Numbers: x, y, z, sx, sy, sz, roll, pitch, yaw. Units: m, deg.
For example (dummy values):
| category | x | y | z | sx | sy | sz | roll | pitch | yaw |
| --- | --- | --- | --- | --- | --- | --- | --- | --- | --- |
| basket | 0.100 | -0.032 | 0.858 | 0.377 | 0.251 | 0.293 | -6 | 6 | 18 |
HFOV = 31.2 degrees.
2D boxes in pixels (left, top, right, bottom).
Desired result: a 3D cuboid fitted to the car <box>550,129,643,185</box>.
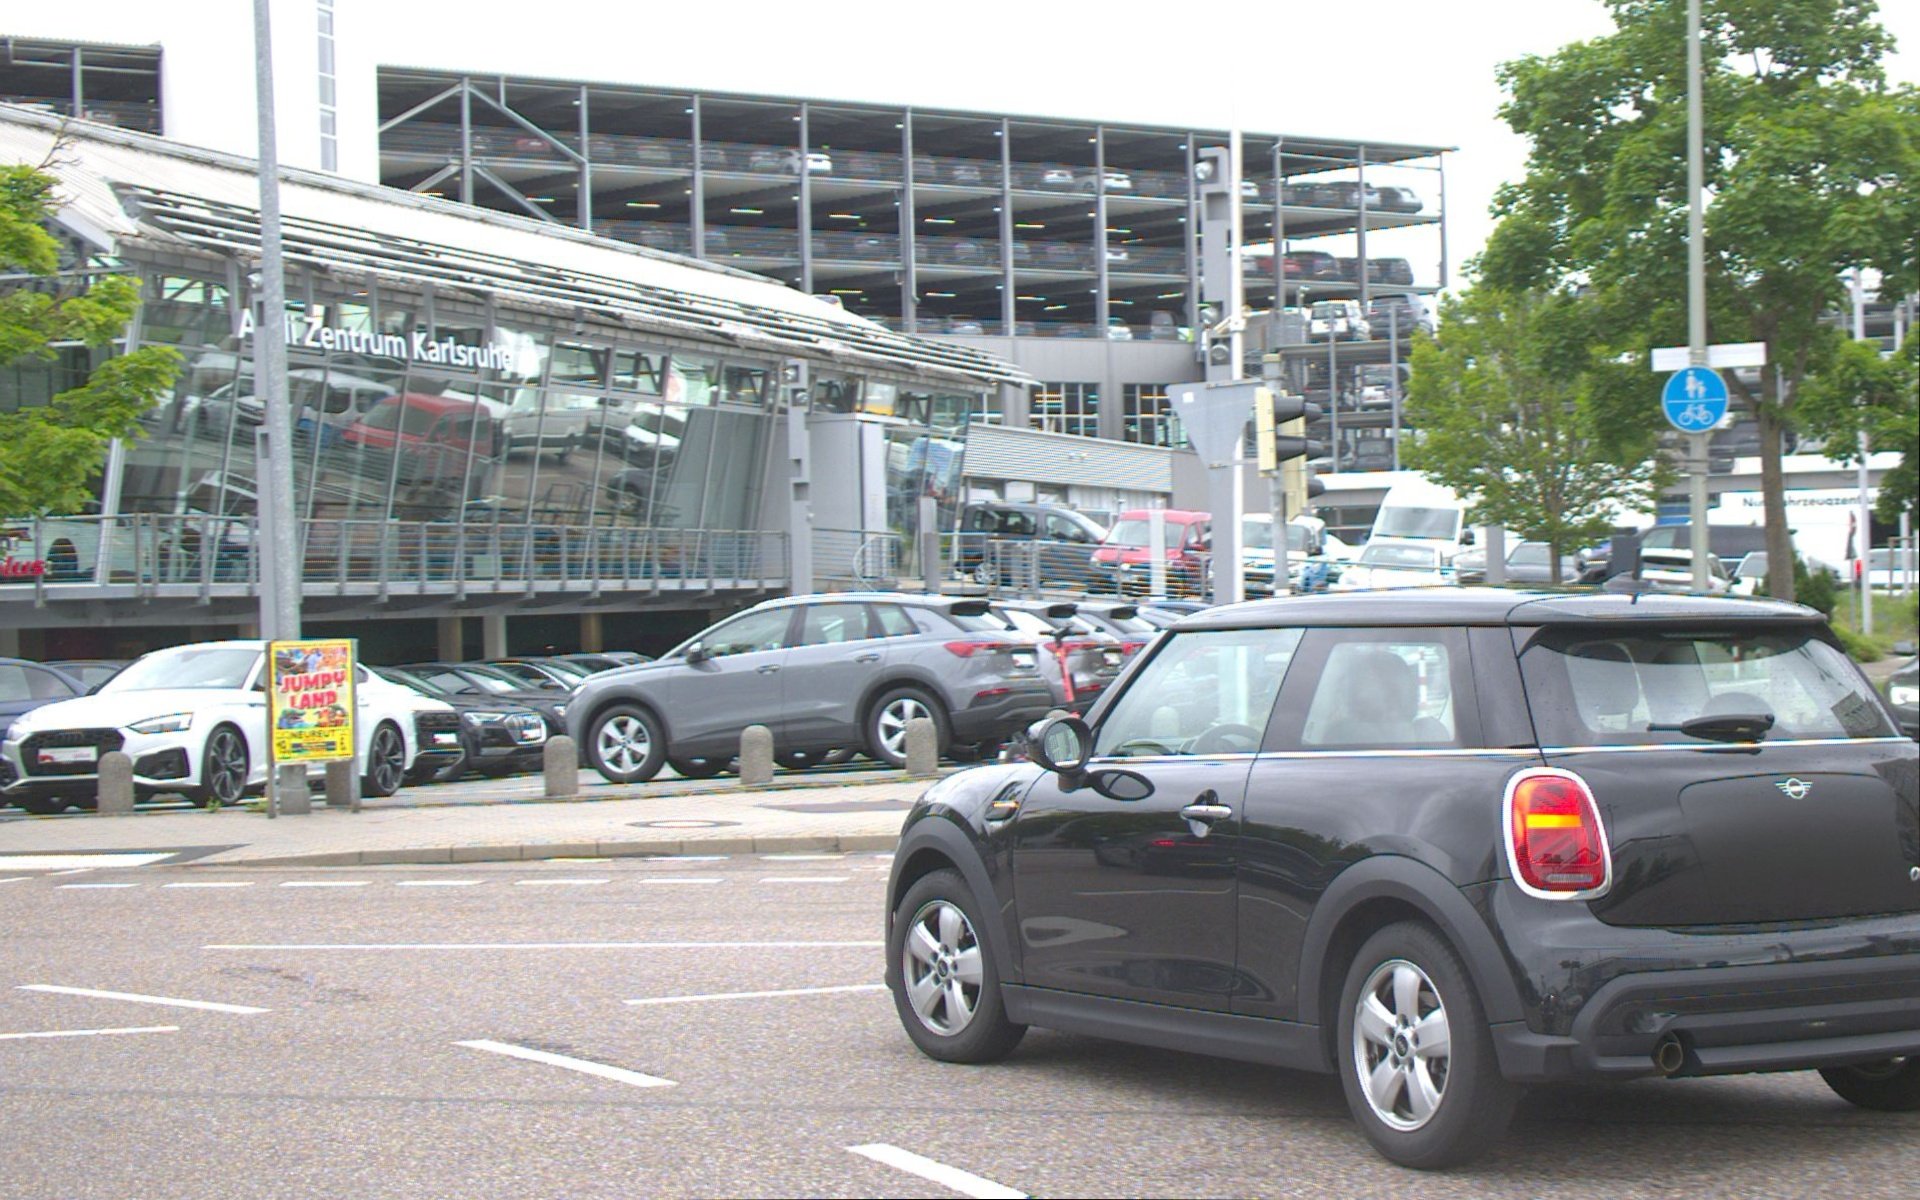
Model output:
| category | x | y | z | sx | sy | sz | roll | pitch | yaw |
| --- | --- | --- | --- | --- | --- | --- | --- | --- | --- |
| car | -14.567 | -17.731 | 137.740 | 1.994 | 1.662 | 3.999 | 0 | 0 | -36 |

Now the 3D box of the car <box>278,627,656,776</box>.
| category | x | y | z | sx | sy | sz | roll | pitch | yaw |
| --- | --- | --- | --- | --- | --- | --- | --- | --- | --- |
| car | -6.864 | 1.409 | 47.911 | 4.806 | 1.933 | 1.998 | -2 | 0 | 20 |

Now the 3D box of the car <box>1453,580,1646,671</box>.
| category | x | y | z | sx | sy | sz | roll | pitch | yaw |
| --- | --- | --- | --- | --- | --- | --- | --- | --- | --- |
| car | 13.319 | 0.574 | 77.642 | 3.991 | 2.007 | 1.998 | 0 | -1 | 20 |

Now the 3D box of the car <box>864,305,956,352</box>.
| category | x | y | z | sx | sy | sz | roll | pitch | yaw |
| --- | --- | --- | --- | --- | --- | --- | --- | --- | --- |
| car | -2.139 | -11.558 | 146.718 | 1.994 | 1.662 | 3.999 | 0 | 0 | -36 |

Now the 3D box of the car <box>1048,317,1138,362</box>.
| category | x | y | z | sx | sy | sz | roll | pitch | yaw |
| --- | --- | --- | --- | --- | --- | --- | --- | --- | --- |
| car | 5.904 | -11.605 | 153.146 | 1.994 | 1.662 | 3.999 | 0 | 0 | -36 |

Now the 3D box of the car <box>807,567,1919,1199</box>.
| category | x | y | z | sx | sy | sz | roll | pitch | yaw |
| --- | --- | --- | --- | --- | --- | --- | --- | --- | --- |
| car | 1.160 | 0.689 | 9.697 | 1.786 | 1.411 | 3.643 | -2 | -1 | -27 |

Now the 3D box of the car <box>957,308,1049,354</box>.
| category | x | y | z | sx | sy | sz | roll | pitch | yaw |
| --- | --- | --- | --- | --- | --- | --- | --- | --- | --- |
| car | 1.858 | -11.739 | 149.986 | 1.994 | 1.662 | 3.999 | 0 | 0 | -36 |

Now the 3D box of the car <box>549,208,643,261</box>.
| category | x | y | z | sx | sy | sz | roll | pitch | yaw |
| --- | --- | --- | --- | --- | --- | --- | --- | --- | --- |
| car | -14.588 | -14.631 | 137.635 | 1.994 | 1.662 | 3.999 | 0 | 0 | -36 |

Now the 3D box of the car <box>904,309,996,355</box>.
| category | x | y | z | sx | sy | sz | roll | pitch | yaw |
| --- | --- | --- | --- | --- | --- | --- | --- | --- | --- |
| car | -0.459 | -11.536 | 148.147 | 1.994 | 1.662 | 3.999 | 0 | 0 | -36 |

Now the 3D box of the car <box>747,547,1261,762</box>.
| category | x | y | z | sx | sy | sz | roll | pitch | yaw |
| --- | --- | --- | --- | --- | --- | --- | --- | --- | --- |
| car | 0.493 | 0.605 | 37.130 | 5.027 | 2.007 | 2.264 | -3 | -2 | 18 |

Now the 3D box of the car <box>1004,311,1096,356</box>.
| category | x | y | z | sx | sy | sz | roll | pitch | yaw |
| --- | --- | --- | --- | --- | --- | --- | --- | --- | --- |
| car | 3.948 | -11.708 | 151.333 | 1.994 | 1.662 | 3.999 | 0 | 0 | -36 |

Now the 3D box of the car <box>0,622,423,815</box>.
| category | x | y | z | sx | sy | sz | roll | pitch | yaw |
| --- | --- | --- | --- | --- | --- | --- | --- | --- | --- |
| car | -6.394 | 1.002 | 29.004 | 1.870 | 1.481 | 4.225 | -2 | -2 | 19 |

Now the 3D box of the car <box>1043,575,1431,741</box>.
| category | x | y | z | sx | sy | sz | roll | pitch | yaw |
| --- | --- | --- | --- | --- | --- | --- | --- | --- | --- |
| car | 3.816 | 0.812 | 47.279 | 4.896 | 2.007 | 1.998 | -3 | -2 | 18 |

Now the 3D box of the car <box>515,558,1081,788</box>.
| category | x | y | z | sx | sy | sz | roll | pitch | yaw |
| --- | --- | --- | --- | --- | --- | --- | --- | --- | --- |
| car | -1.485 | 0.691 | 31.918 | 4.776 | 1.856 | 1.998 | -3 | -2 | 18 |

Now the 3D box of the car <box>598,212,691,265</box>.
| category | x | y | z | sx | sy | sz | roll | pitch | yaw |
| --- | --- | --- | --- | --- | --- | --- | --- | --- | --- |
| car | -12.761 | -14.606 | 139.070 | 1.994 | 1.662 | 3.999 | 0 | 0 | -36 |

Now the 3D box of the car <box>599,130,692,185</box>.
| category | x | y | z | sx | sy | sz | roll | pitch | yaw |
| --- | --- | --- | --- | --- | --- | --- | --- | --- | --- |
| car | -12.769 | -17.918 | 139.346 | 1.994 | 1.662 | 3.999 | 0 | 0 | -36 |

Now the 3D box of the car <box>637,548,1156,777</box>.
| category | x | y | z | sx | sy | sz | roll | pitch | yaw |
| --- | --- | --- | --- | --- | --- | --- | --- | --- | --- |
| car | -0.617 | 0.637 | 34.337 | 4.705 | 2.007 | 1.998 | -3 | -2 | 18 |

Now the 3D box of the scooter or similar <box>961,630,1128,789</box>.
| category | x | y | z | sx | sy | sz | roll | pitch | yaw |
| --- | --- | --- | --- | --- | --- | --- | --- | --- | --- |
| scooter or similar | 0.699 | 0.878 | 28.105 | 0.558 | 1.214 | 1.557 | 2 | 2 | 36 |

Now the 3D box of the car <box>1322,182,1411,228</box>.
| category | x | y | z | sx | sy | sz | roll | pitch | yaw |
| --- | --- | --- | --- | --- | --- | --- | --- | --- | --- |
| car | 19.256 | -18.722 | 163.001 | 1.994 | 1.662 | 3.999 | 0 | 0 | -36 |

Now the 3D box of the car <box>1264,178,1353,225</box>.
| category | x | y | z | sx | sy | sz | roll | pitch | yaw |
| --- | --- | --- | --- | --- | --- | --- | --- | --- | --- |
| car | 16.264 | -18.596 | 160.625 | 1.994 | 1.662 | 3.999 | 0 | 0 | -36 |

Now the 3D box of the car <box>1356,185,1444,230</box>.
| category | x | y | z | sx | sy | sz | roll | pitch | yaw |
| --- | --- | --- | --- | --- | --- | --- | --- | --- | --- |
| car | 21.018 | -18.746 | 164.365 | 1.994 | 1.662 | 3.999 | 0 | 0 | -36 |

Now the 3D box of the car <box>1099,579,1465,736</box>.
| category | x | y | z | sx | sy | sz | roll | pitch | yaw |
| --- | --- | --- | --- | --- | --- | --- | --- | --- | --- |
| car | 4.689 | 0.841 | 49.979 | 4.896 | 2.007 | 1.998 | -3 | -2 | 18 |

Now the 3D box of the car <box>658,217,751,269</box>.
| category | x | y | z | sx | sy | sz | roll | pitch | yaw |
| --- | --- | --- | --- | --- | --- | --- | --- | --- | --- |
| car | -10.467 | -14.578 | 140.437 | 1.994 | 1.662 | 3.999 | 0 | 0 | -36 |

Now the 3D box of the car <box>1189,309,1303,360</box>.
| category | x | y | z | sx | sy | sz | roll | pitch | yaw |
| --- | --- | --- | --- | --- | --- | --- | --- | --- | --- |
| car | 13.276 | -12.335 | 160.061 | 2.204 | 1.938 | 5.329 | 0 | 0 | -39 |

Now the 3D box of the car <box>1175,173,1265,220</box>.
| category | x | y | z | sx | sy | sz | roll | pitch | yaw |
| --- | --- | --- | --- | --- | --- | --- | --- | --- | --- |
| car | 11.917 | -18.494 | 157.779 | 1.994 | 1.662 | 3.999 | 0 | 0 | -36 |

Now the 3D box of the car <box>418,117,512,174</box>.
| category | x | y | z | sx | sy | sz | roll | pitch | yaw |
| --- | --- | --- | --- | --- | --- | --- | --- | --- | --- |
| car | -19.412 | -17.793 | 134.737 | 1.994 | 1.662 | 3.999 | 0 | 0 | -36 |

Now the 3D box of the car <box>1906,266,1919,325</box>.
| category | x | y | z | sx | sy | sz | roll | pitch | yaw |
| --- | --- | --- | --- | --- | --- | --- | --- | --- | --- |
| car | 37.651 | -11.766 | 132.639 | 1.995 | 1.876 | 3.996 | -2 | -1 | 18 |

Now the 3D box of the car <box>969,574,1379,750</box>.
| category | x | y | z | sx | sy | sz | roll | pitch | yaw |
| --- | --- | --- | --- | --- | --- | --- | --- | --- | --- |
| car | 2.795 | 0.816 | 44.761 | 4.896 | 2.007 | 1.998 | -3 | -2 | 18 |

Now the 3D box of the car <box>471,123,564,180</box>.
| category | x | y | z | sx | sy | sz | roll | pitch | yaw |
| --- | --- | --- | --- | --- | --- | --- | --- | --- | --- |
| car | -17.551 | -17.765 | 136.311 | 1.994 | 1.662 | 3.999 | 0 | 0 | -36 |

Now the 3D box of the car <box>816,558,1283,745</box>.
| category | x | y | z | sx | sy | sz | roll | pitch | yaw |
| --- | --- | --- | --- | --- | --- | --- | --- | --- | --- |
| car | 1.048 | 0.614 | 39.582 | 4.950 | 1.870 | 2.052 | -3 | -2 | 16 |

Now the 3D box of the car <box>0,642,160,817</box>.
| category | x | y | z | sx | sy | sz | roll | pitch | yaw |
| --- | --- | --- | --- | --- | --- | --- | --- | --- | --- |
| car | -9.058 | 1.163 | 29.919 | 2.065 | 1.481 | 4.512 | -3 | -3 | 17 |

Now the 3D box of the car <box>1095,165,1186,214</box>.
| category | x | y | z | sx | sy | sz | roll | pitch | yaw |
| --- | --- | --- | --- | --- | --- | --- | --- | --- | --- |
| car | 8.101 | -18.425 | 154.398 | 1.994 | 1.662 | 3.999 | 0 | 0 | -36 |

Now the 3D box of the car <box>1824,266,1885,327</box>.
| category | x | y | z | sx | sy | sz | roll | pitch | yaw |
| --- | --- | --- | --- | --- | --- | --- | --- | --- | --- |
| car | 34.799 | -11.767 | 133.626 | 1.995 | 1.876 | 3.996 | -2 | -1 | 18 |

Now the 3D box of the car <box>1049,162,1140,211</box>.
| category | x | y | z | sx | sy | sz | roll | pitch | yaw |
| --- | --- | --- | --- | --- | --- | --- | --- | --- | --- |
| car | 5.966 | -18.372 | 152.803 | 1.994 | 1.662 | 3.999 | 0 | 0 | -36 |

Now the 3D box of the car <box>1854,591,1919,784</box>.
| category | x | y | z | sx | sy | sz | roll | pitch | yaw |
| --- | --- | --- | --- | --- | --- | --- | --- | --- | --- |
| car | 9.110 | 0.686 | 29.733 | 1.981 | 1.546 | 4.608 | -1 | 0 | 23 |
